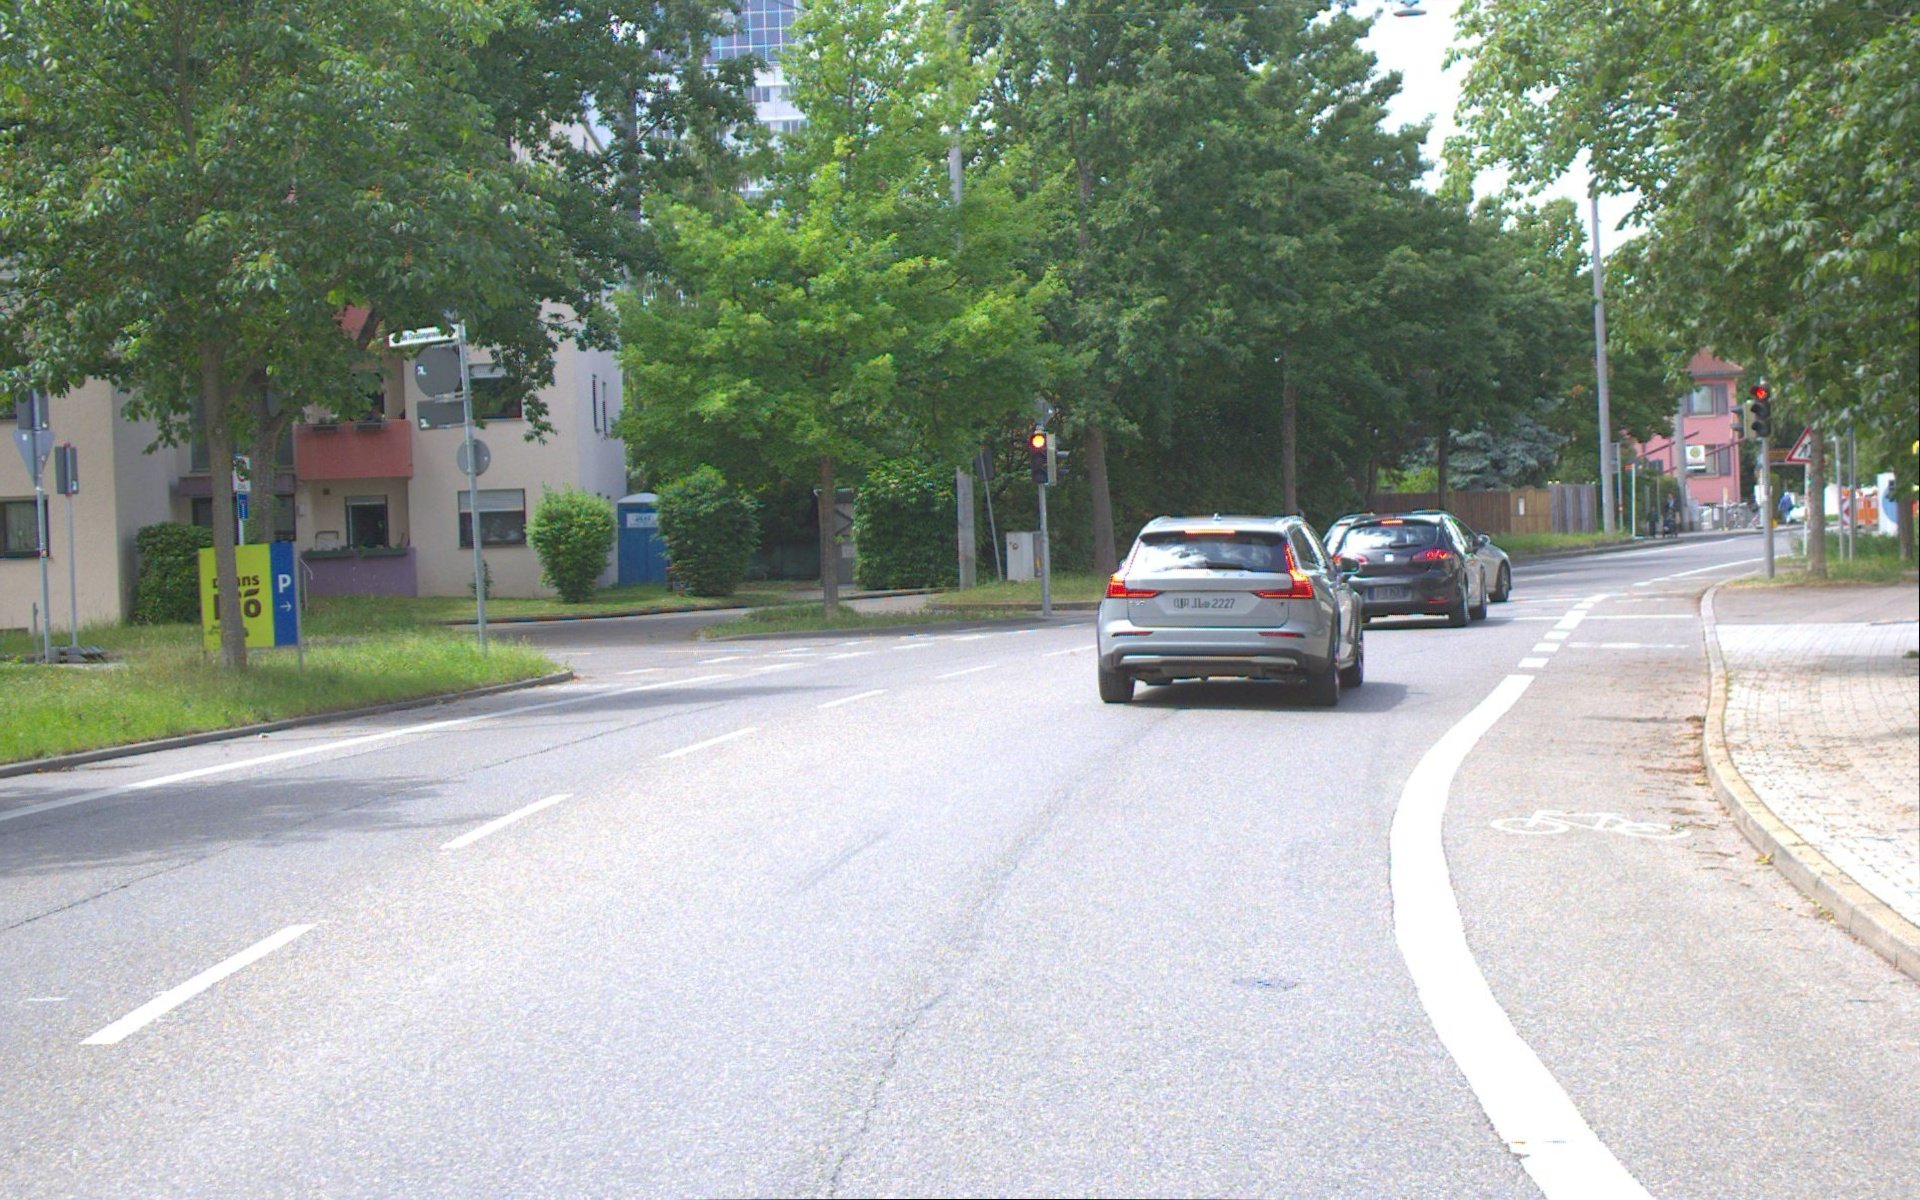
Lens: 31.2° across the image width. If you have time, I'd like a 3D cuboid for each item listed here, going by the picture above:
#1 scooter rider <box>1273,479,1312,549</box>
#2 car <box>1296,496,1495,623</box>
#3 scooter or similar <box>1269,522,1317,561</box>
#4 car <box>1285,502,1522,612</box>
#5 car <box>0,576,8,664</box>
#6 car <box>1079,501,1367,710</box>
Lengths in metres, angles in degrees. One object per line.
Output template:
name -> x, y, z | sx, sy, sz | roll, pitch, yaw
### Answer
scooter rider -> 8.366, -2.162, 86.411 | 0.705, 1.721, 0.680 | -1, 0, -26
car -> 5.662, -0.561, 44.257 | 1.806, 1.518, 4.326 | 2, 2, 17
scooter or similar -> 8.362, -1.475, 86.400 | 0.952, 0.958, 0.690 | -2, 1, -27
car -> 6.902, -0.645, 53.198 | 1.808, 1.611, 4.320 | 2, 1, 35
car -> -17.315, 0.325, 54.256 | 4.077, 1.395, 1.794 | -1, -3, 0
car -> 2.230, -0.024, 28.092 | 1.957, 1.518, 4.328 | 2, 2, 9
